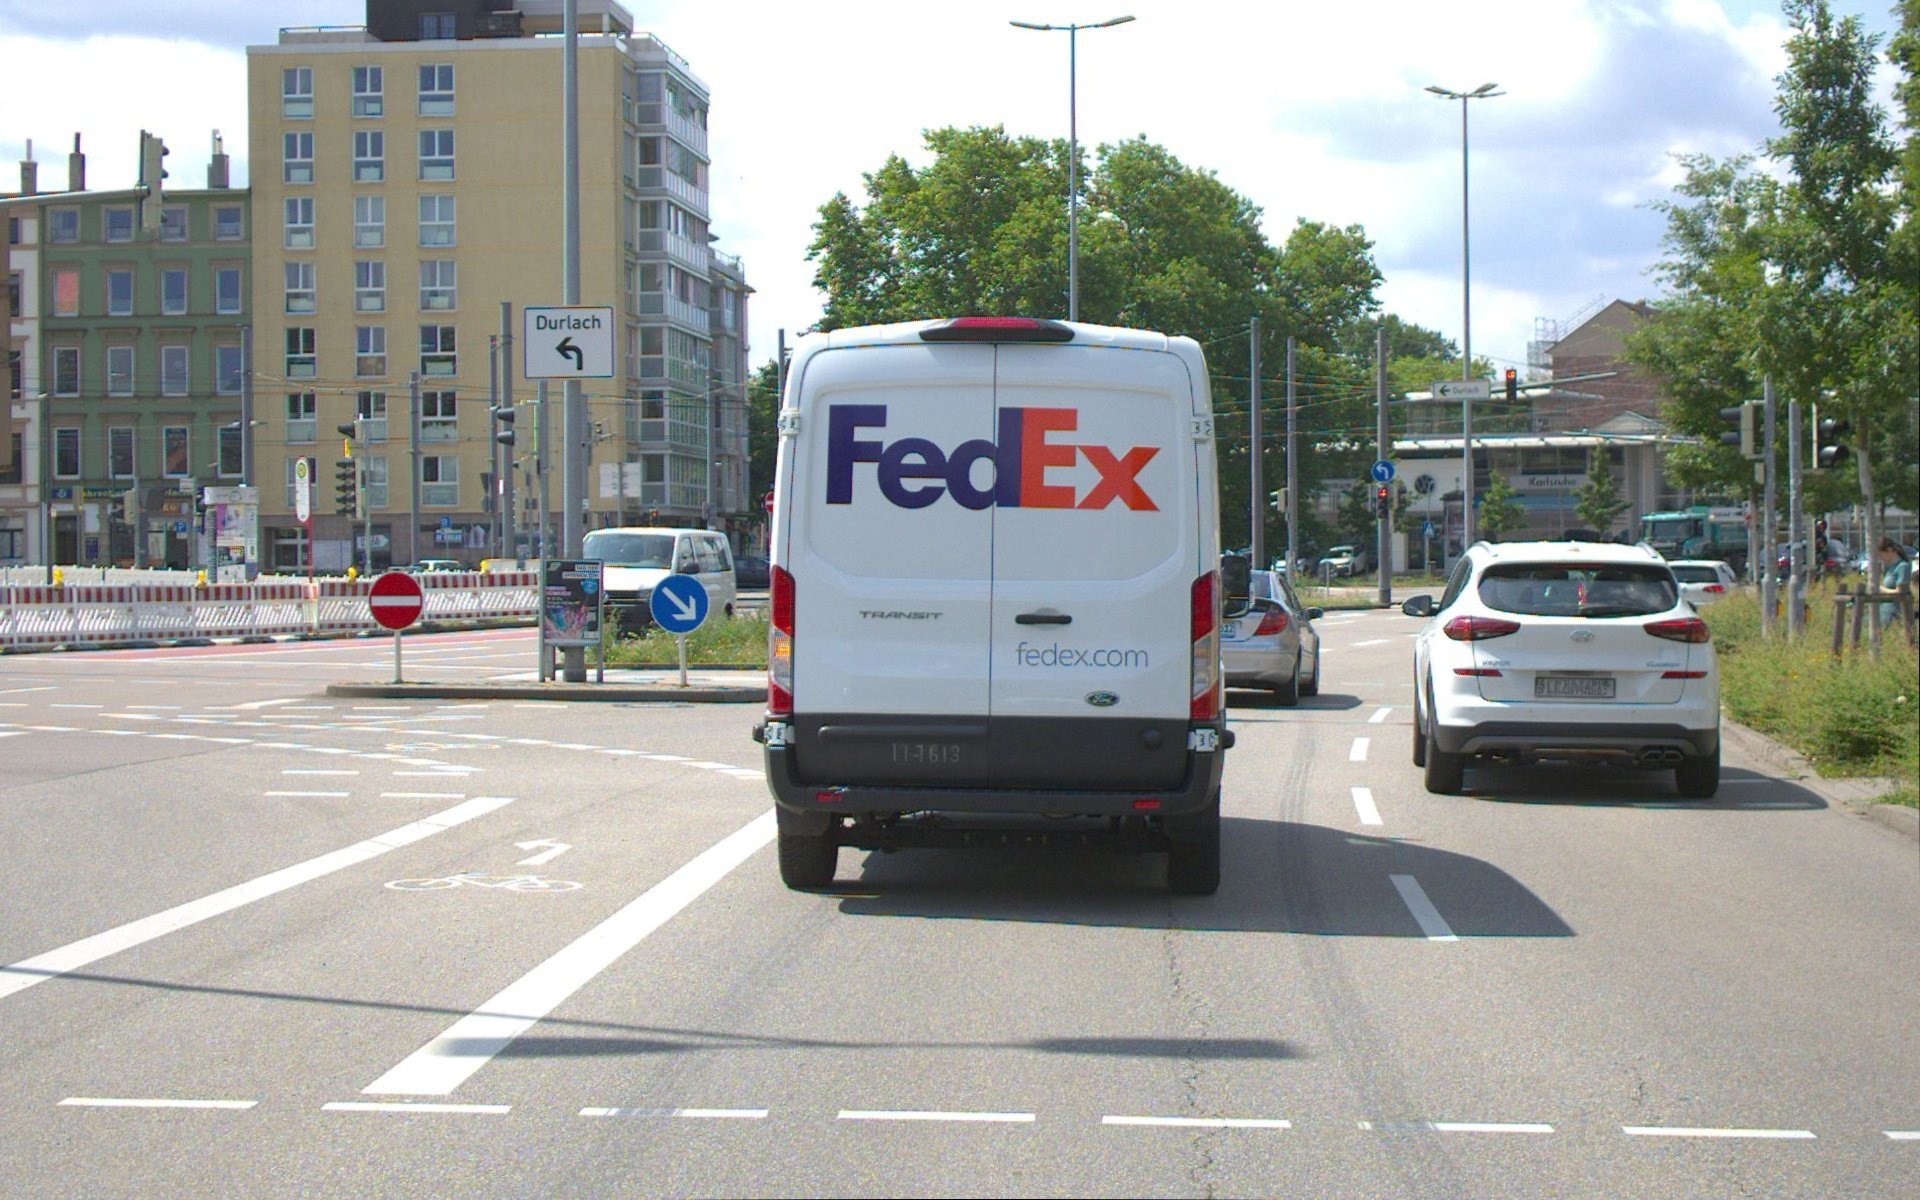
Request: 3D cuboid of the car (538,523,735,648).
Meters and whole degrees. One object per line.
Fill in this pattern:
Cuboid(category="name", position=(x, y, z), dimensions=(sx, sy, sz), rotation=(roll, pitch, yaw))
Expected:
Cuboid(category="car", position=(-5.051, -0.260, 54.412), dimensions=(1.882, 1.888, 4.868), rotation=(0, 1, 10))

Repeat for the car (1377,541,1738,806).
Cuboid(category="car", position=(3.968, 0.424, 23.486), dimensions=(1.881, 1.636, 4.232), rotation=(0, 1, 2))

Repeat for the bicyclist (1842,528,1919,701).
Cuboid(category="bicyclist", position=(8.867, 0.136, 32.547), dimensions=(0.828, 1.596, 0.579), rotation=(-3, -1, 4))

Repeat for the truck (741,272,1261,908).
Cuboid(category="truck", position=(0.218, -0.069, 17.349), dimensions=(2.137, 2.631, 5.917), rotation=(1, 0, 1))

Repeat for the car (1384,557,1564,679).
Cuboid(category="car", position=(6.317, 0.190, 42.589), dimensions=(1.915, 1.415, 3.918), rotation=(0, 1, 4))

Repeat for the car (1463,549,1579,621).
Cuboid(category="car", position=(13.350, -0.377, 81.587), dimensions=(1.930, 1.636, 4.788), rotation=(0, 1, 19))

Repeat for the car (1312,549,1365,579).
Cuboid(category="car", position=(20.714, -1.949, 188.023), dimensions=(1.995, 1.568, 4.174), rotation=(1, 0, 18))

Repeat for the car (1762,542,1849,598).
Cuboid(category="car", position=(25.230, -0.912, 102.462), dimensions=(1.883, 1.636, 3.952), rotation=(0, 1, 23))

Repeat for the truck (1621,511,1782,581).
Cuboid(category="truck", position=(31.128, -2.276, 144.013), dimensions=(2.892, 2.842, 8.772), rotation=(0, 1, 39))

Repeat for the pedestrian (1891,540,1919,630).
Cuboid(category="pedestrian", position=(17.068, -0.268, 61.173), dimensions=(0.756, 1.584, 0.761), rotation=(1, 0, -1))

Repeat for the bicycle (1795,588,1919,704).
Cuboid(category="bicycle", position=(8.900, 0.416, 32.543), dimensions=(1.809, 1.046, 0.592), rotation=(-3, -1, 4))

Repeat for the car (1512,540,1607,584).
Cuboid(category="car", position=(25.170, -1.601, 144.320), dimensions=(1.722, 1.794, 4.729), rotation=(-1, 1, 41))

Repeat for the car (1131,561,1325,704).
Cuboid(category="car", position=(2.870, 0.296, 36.115), dimensions=(1.742, 1.387, 4.178), rotation=(0, 1, 9))

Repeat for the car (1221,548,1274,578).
Cuboid(category="car", position=(15.914, -2.044, 189.981), dimensions=(1.995, 1.568, 4.174), rotation=(1, 0, 18))

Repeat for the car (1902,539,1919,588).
Cuboid(category="car", position=(33.892, -1.264, 118.184), dimensions=(1.884, 1.636, 3.950), rotation=(0, 1, 32))

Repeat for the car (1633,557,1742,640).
Cuboid(category="car", position=(15.072, -0.054, 71.122), dimensions=(1.882, 1.636, 3.954), rotation=(0, 1, 17))
